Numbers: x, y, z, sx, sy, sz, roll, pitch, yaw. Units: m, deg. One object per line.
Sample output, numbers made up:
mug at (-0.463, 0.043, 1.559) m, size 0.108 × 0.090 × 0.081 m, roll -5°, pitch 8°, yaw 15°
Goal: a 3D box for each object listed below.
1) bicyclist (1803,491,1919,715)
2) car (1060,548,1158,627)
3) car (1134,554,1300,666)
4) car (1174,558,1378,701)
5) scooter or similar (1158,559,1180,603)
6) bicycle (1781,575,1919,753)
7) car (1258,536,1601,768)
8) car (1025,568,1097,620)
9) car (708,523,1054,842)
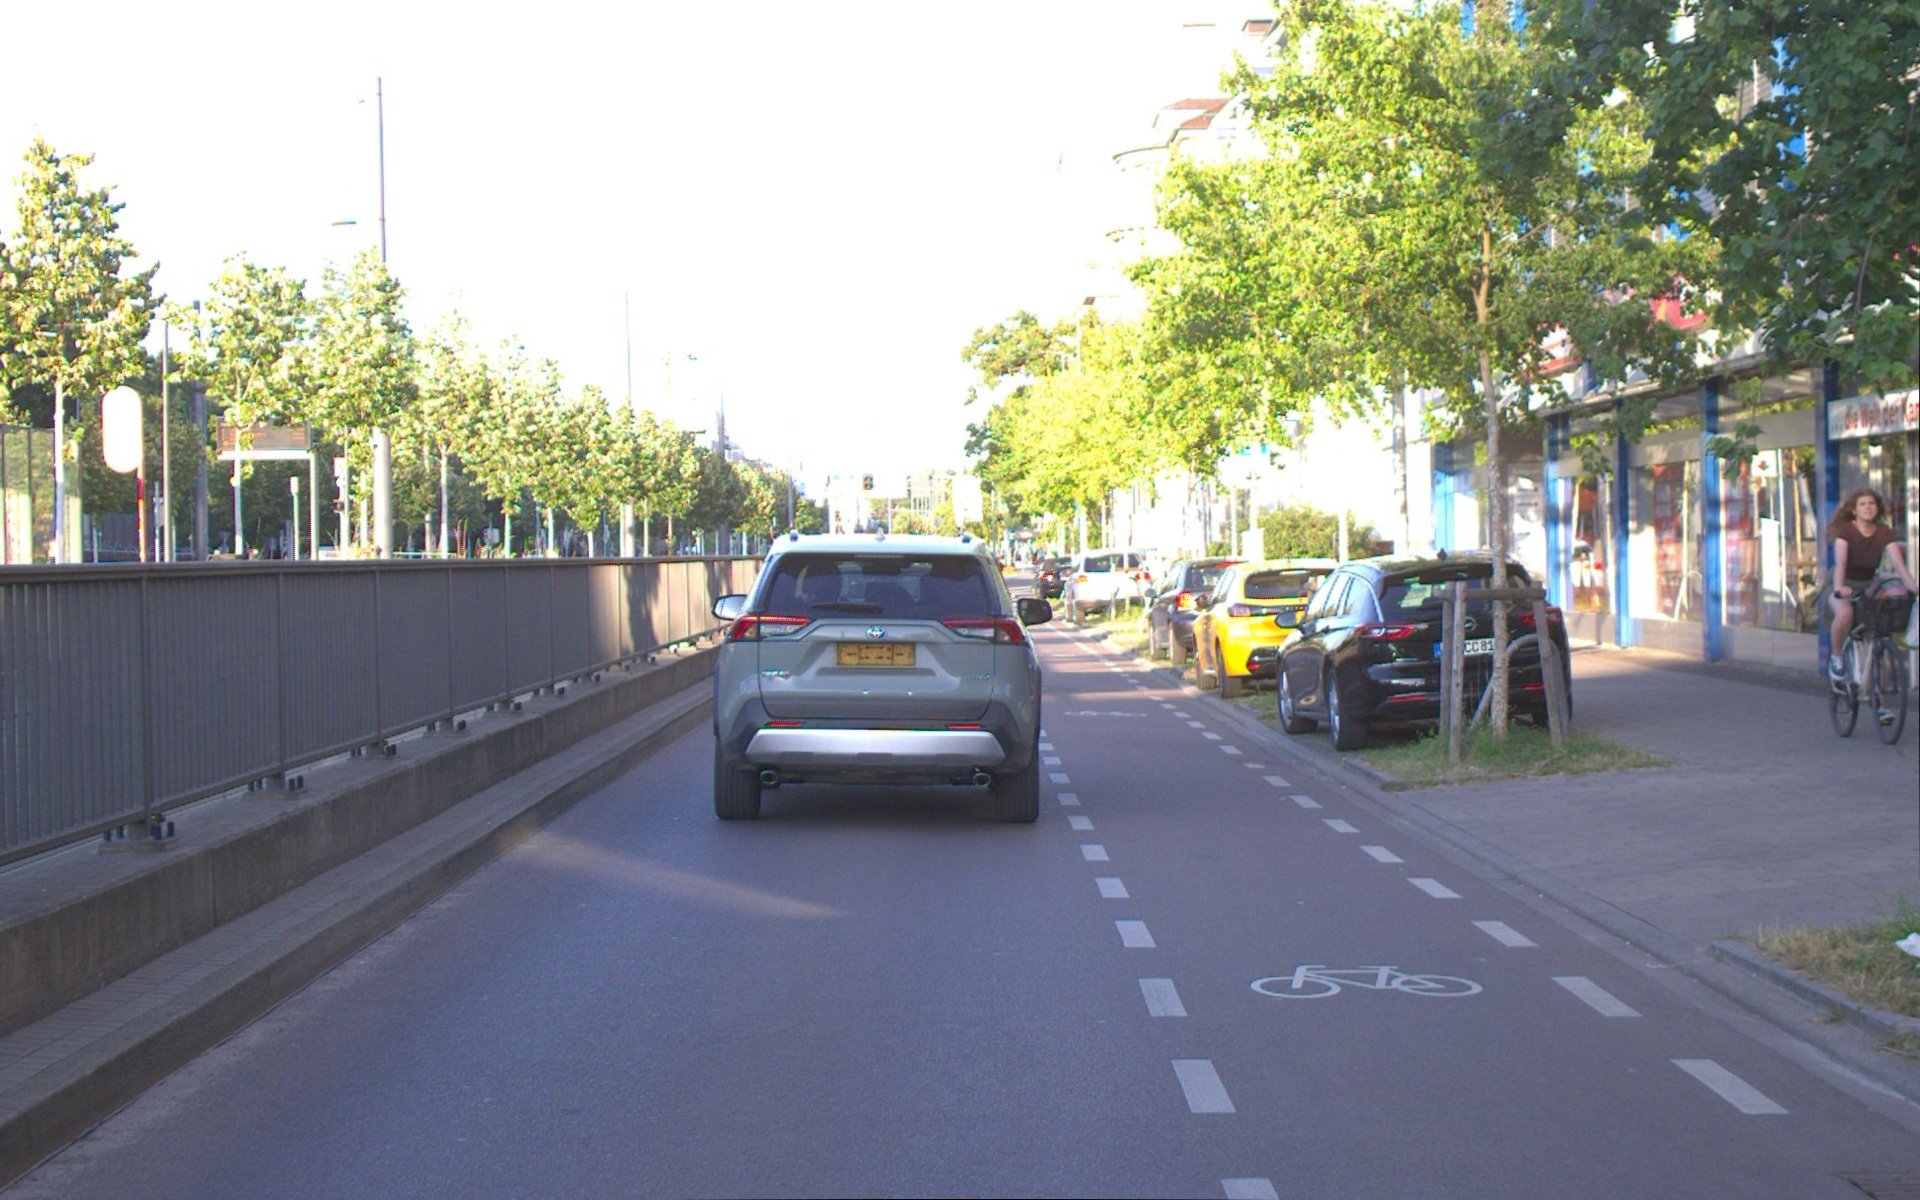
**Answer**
bicyclist at (6.146, 0.019, 23.375) m, size 0.558 × 1.470 × 0.623 m, roll -4°, pitch 0°, yaw -2°
car at (3.326, -0.307, 77.575) m, size 1.854 × 1.701 × 4.254 m, roll -1°, pitch 1°, yaw -2°
car at (3.553, 0.115, 48.165) m, size 1.819 × 1.449 × 4.129 m, roll -2°, pitch 1°, yaw -2°
car at (3.433, 0.291, 38.034) m, size 1.683 × 1.449 × 4.130 m, roll -2°, pitch 1°, yaw -2°
scooter or similar at (6.000, -0.540, 98.703) m, size 0.490 × 1.254 × 1.208 m, roll 0°, pitch 0°, yaw -4°
bicycle at (6.163, 0.408, 23.371) m, size 0.554 × 1.125 × 1.974 m, roll -4°, pitch 0°, yaw -2°
car at (3.651, 0.356, 27.581) m, size 1.819 × 1.561 × 4.811 m, roll -4°, pitch 1°, yaw -2°
car at (3.124, -0.194, 106.920) m, size 1.792 × 1.466 × 4.446 m, roll -4°, pitch 1°, yaw -3°
car at (-0.505, 0.436, 20.795) m, size 1.857 × 1.708 × 4.193 m, roll 1°, pitch 0°, yaw -2°
